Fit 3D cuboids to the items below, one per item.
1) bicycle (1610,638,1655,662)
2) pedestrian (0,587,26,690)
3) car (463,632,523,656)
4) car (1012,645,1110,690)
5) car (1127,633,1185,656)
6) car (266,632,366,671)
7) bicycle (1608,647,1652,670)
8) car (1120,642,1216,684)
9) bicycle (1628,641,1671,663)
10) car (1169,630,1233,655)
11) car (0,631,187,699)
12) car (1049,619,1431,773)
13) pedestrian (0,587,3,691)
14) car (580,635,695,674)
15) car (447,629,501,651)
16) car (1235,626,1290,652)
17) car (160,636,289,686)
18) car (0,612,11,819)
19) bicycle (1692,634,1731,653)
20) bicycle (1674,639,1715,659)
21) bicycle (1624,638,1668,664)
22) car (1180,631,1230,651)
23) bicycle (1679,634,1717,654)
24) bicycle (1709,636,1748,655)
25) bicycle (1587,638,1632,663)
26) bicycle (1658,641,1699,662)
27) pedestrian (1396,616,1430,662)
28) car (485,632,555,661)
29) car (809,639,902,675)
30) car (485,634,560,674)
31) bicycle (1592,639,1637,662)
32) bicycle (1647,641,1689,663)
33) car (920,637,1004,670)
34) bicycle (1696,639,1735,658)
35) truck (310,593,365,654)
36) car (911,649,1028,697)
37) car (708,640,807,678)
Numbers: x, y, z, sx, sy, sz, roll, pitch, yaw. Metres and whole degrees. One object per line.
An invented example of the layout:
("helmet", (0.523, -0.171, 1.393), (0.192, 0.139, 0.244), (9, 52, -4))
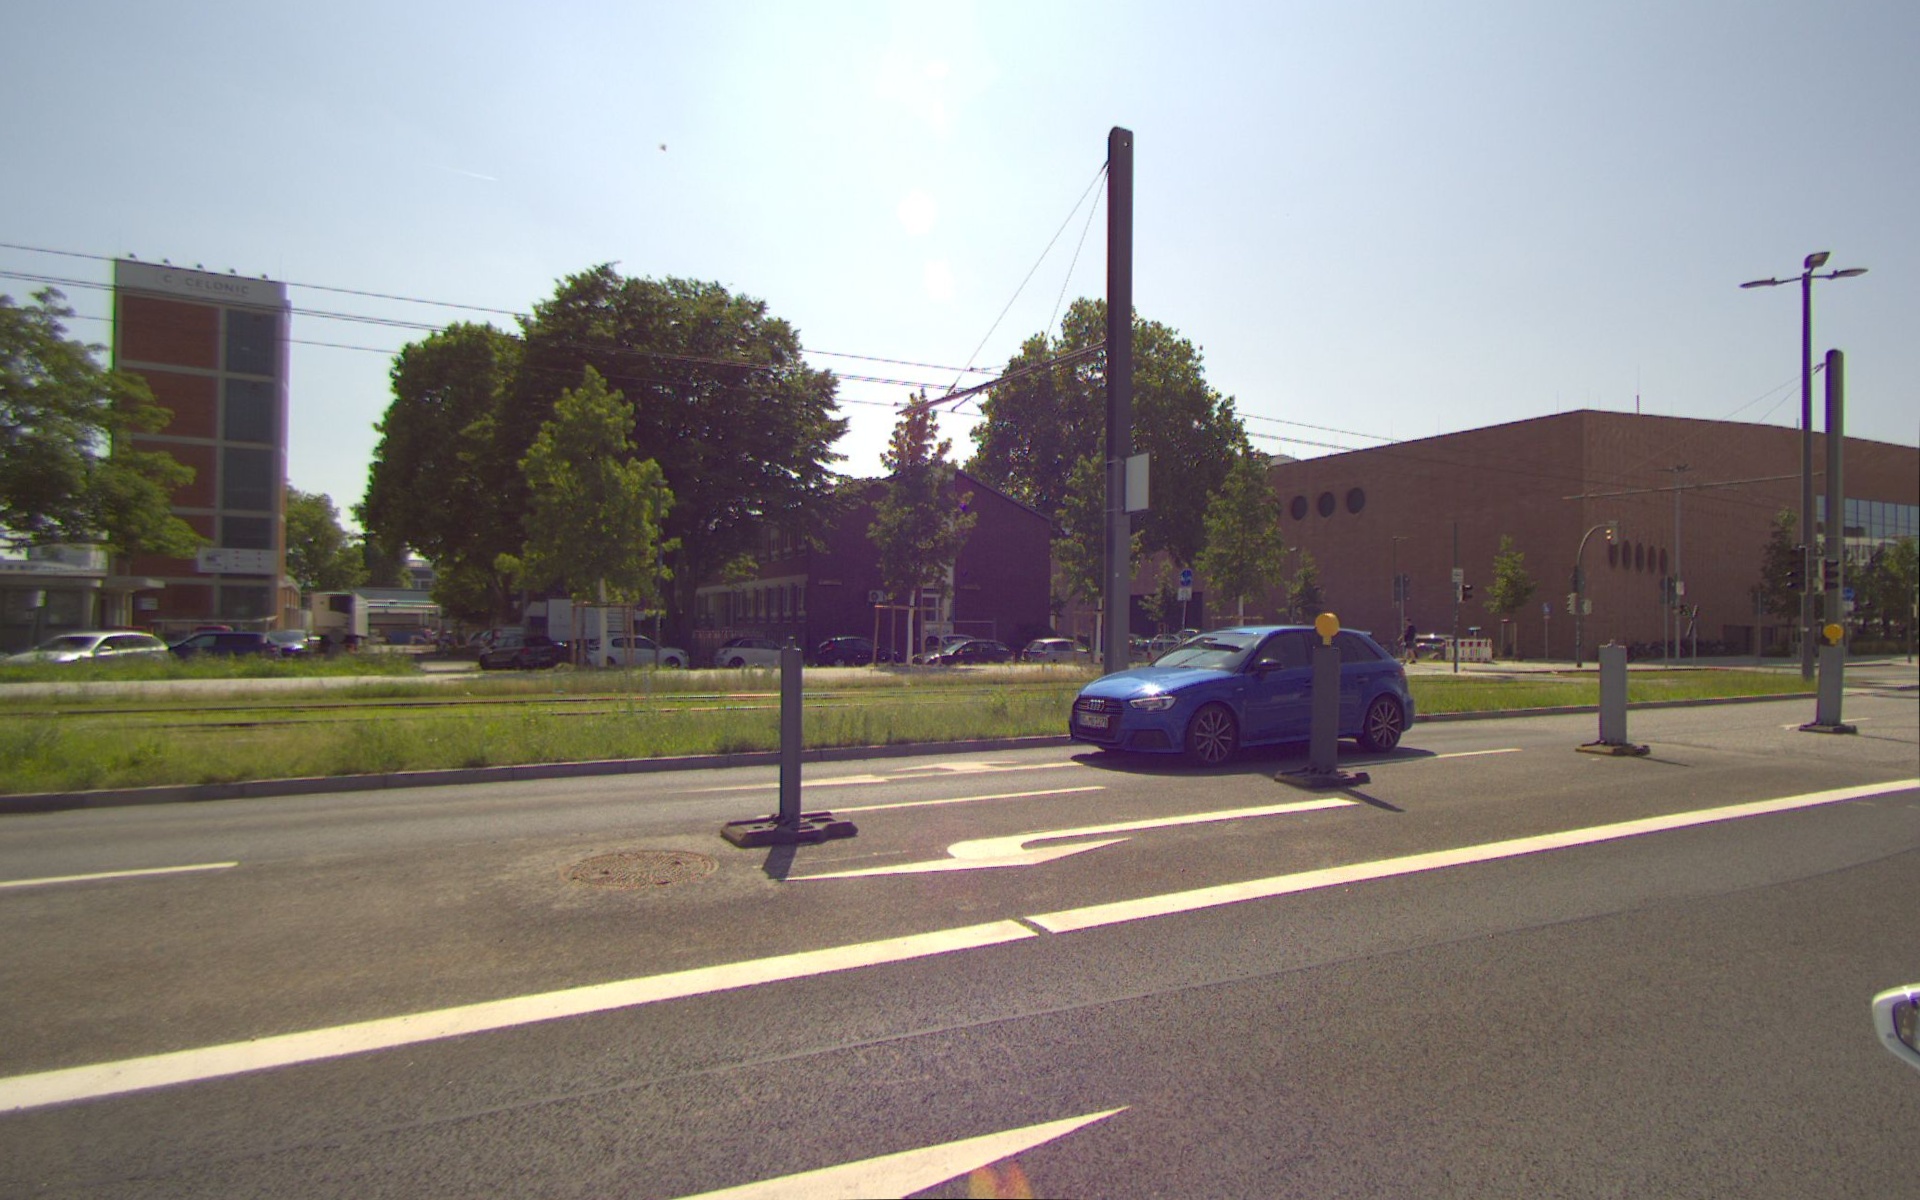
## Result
("bicycle", (37.587, 2.778, 56.156), (0.535, 1.228, 2.033), (1, -1, -40))
("pedestrian", (-19.382, 0.752, 19.952), (0.970, 2.040, 0.836), (1, 0, -26))
("car", (-29.804, 2.790, 64.091), (3.308, 1.472, 1.529), (1, 0, -31))
("car", (4.351, 2.877, 43.014), (3.892, 1.784, 1.691), (2, -1, -29))
("car", (13.376, 3.050, 68.725), (1.972, 1.421, 3.978), (2, -1, -23))
("car", (-25.950, 2.050, 40.590), (3.308, 1.472, 1.529), (1, 0, -31))
("bicycle", (37.726, 3.284, 56.585), (0.535, 1.228, 2.034), (1, -1, -39))
("car", (9.541, 2.877, 46.051), (4.249, 1.784, 1.691), (2, -1, -29))
("bicycle", (40.911, 3.079, 59.643), (0.535, 1.228, 2.034), (1, -1, -39))
("car", (15.486, 2.719, 64.734), (1.972, 1.421, 3.978), (2, -1, -23))
("car", (-22.659, 1.650, 26.373), (3.600, 1.612, 1.757), (1, 0, -34))
("car", (3.192, 0.980, 11.247), (4.239, 1.446, 1.621), (1, -3, -30))
("pedestrian", (-18.983, 0.751, 19.068), (0.898, 2.040, 0.980), (1, 0, -26))
("car", (-12.974, 2.153, 40.505), (4.215, 1.476, 1.532), (1, -1, -29))
("car", (-34.496, 2.826, 71.274), (3.308, 1.472, 1.529), (1, 0, -31))
("car", (21.261, 2.710, 70.705), (1.673, 1.712, 3.528), (1, -1, -28))
("car", (-26.009, 2.111, 35.665), (3.600, 1.612, 1.757), (1, 0, -34))
("car", (-8.093, 0.728, 5.436), (3.947, 1.435, 1.575), (2, -2, -27))
("bicycle", (50.142, 2.881, 67.034), (0.535, 1.228, 2.034), (1, -1, -39))
("bicycle", (47.271, 3.121, 64.657), (0.535, 1.228, 2.034), (1, -1, -39))
("bicycle", (39.457, 2.925, 57.831), (0.535, 1.472, 2.034), (1, -1, -39))
("car", (18.470, 3.089, 75.778), (1.692, 1.339, 3.480), (2, -1, -30))
("bicycle", (48.108, 2.853, 65.476), (0.739, 1.228, 1.871), (1, -1, -35))
("bicycle", (51.945, 3.037, 67.916), (0.535, 1.228, 2.034), (1, -1, -39))
("bicycle", (35.656, 2.767, 55.155), (0.535, 1.228, 2.034), (1, 0, -39))
("bicycle", (45.137, 3.232, 63.134), (0.535, 1.228, 2.034), (1, -1, -39))
("pedestrian", (18.773, 1.619, 41.612), (1.093, 1.871, 0.808), (1, -1, -28))
("car", (-23.622, 2.476, 53.944), (3.308, 1.472, 1.529), (1, 0, -31))
("car", (-4.544, 2.451, 43.888), (3.745, 1.476, 1.530), (1, -1, -32))
("car", (-17.704, 2.138, 40.562), (3.701, 1.476, 1.534), (0, -1, 45))
("bicycle", (36.280, 2.786, 55.657), (0.535, 1.228, 2.034), (1, -1, -39))
("bicycle", (43.473, 3.183, 61.685), (0.535, 1.228, 2.034), (1, -1, -39))
("car", (0.099, 2.488, 47.479), (3.741, 1.476, 1.532), (1, -1, -29))
("bicycle", (50.935, 3.245, 67.764), (0.535, 1.228, 2.034), (1, -1, -39))
("truck", (-46.645, 1.589, 75.528), (2.854, 4.136, 12.544), (1, 0, -29))
("car", (0.402, 2.949, 40.704), (4.476, 1.784, 1.691), (2, -1, -29))
("car", (-8.403, 2.448, 41.831), (3.747, 1.476, 1.529), (2, -1, -33))
